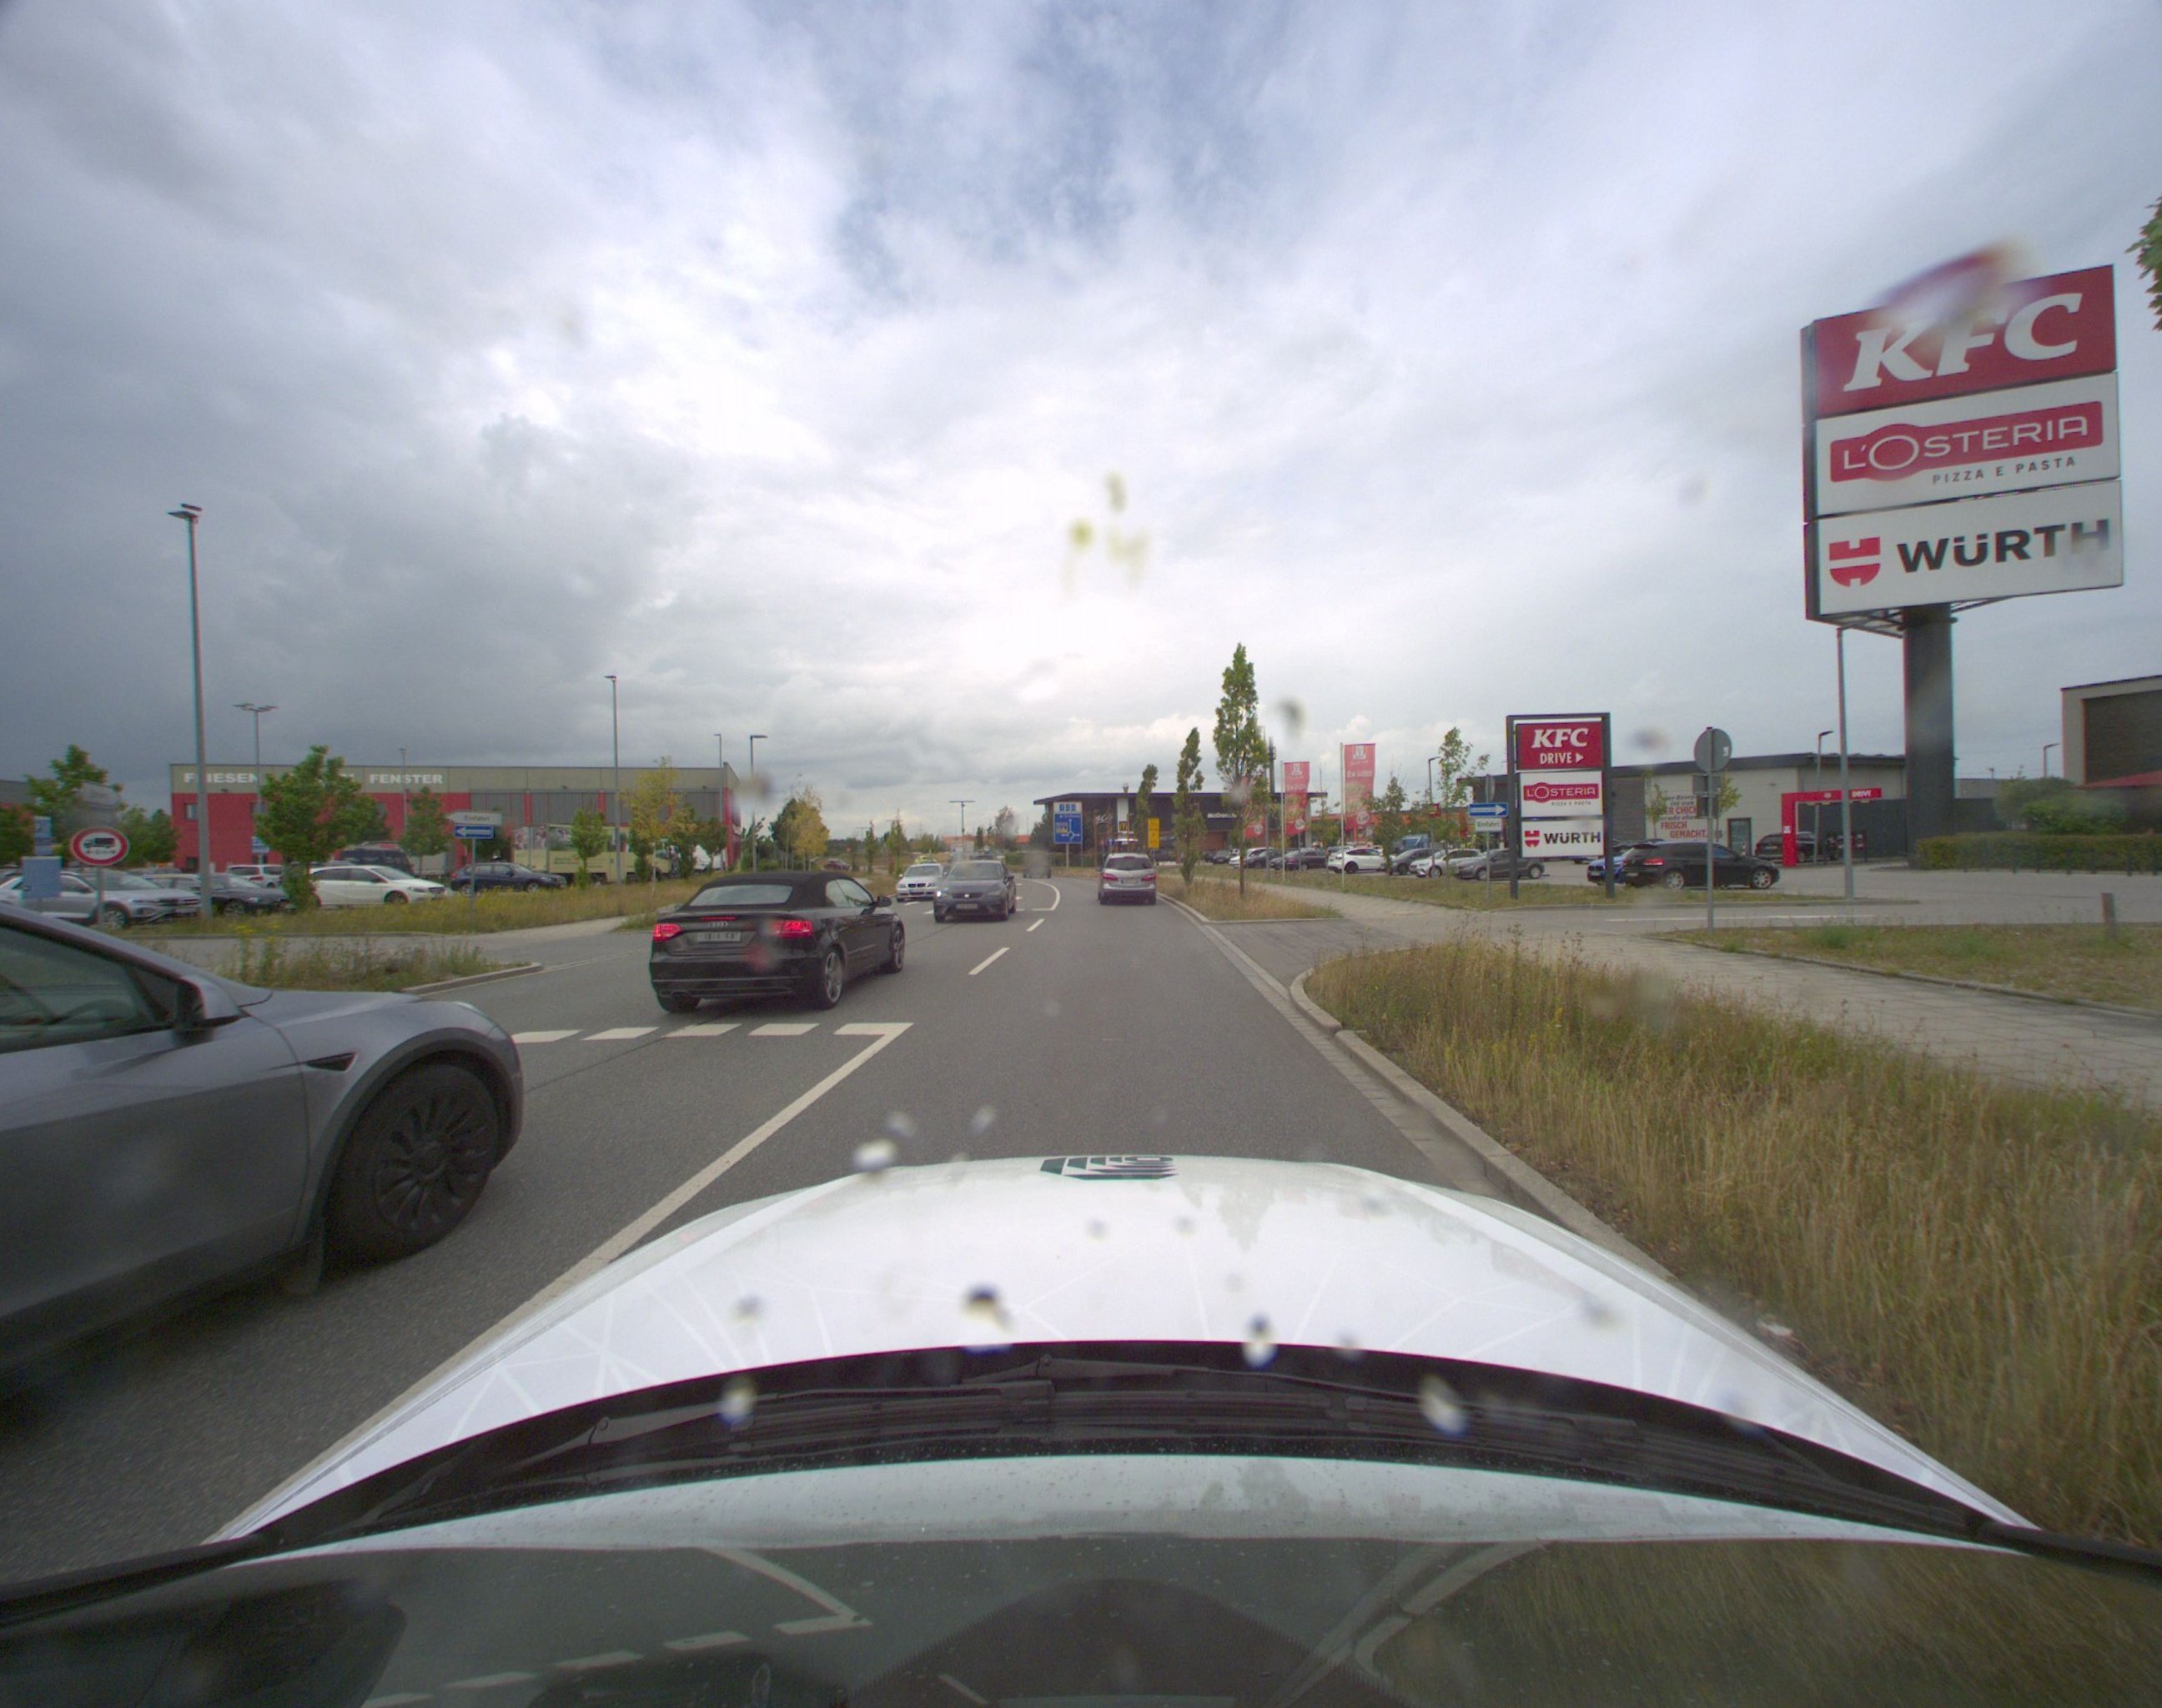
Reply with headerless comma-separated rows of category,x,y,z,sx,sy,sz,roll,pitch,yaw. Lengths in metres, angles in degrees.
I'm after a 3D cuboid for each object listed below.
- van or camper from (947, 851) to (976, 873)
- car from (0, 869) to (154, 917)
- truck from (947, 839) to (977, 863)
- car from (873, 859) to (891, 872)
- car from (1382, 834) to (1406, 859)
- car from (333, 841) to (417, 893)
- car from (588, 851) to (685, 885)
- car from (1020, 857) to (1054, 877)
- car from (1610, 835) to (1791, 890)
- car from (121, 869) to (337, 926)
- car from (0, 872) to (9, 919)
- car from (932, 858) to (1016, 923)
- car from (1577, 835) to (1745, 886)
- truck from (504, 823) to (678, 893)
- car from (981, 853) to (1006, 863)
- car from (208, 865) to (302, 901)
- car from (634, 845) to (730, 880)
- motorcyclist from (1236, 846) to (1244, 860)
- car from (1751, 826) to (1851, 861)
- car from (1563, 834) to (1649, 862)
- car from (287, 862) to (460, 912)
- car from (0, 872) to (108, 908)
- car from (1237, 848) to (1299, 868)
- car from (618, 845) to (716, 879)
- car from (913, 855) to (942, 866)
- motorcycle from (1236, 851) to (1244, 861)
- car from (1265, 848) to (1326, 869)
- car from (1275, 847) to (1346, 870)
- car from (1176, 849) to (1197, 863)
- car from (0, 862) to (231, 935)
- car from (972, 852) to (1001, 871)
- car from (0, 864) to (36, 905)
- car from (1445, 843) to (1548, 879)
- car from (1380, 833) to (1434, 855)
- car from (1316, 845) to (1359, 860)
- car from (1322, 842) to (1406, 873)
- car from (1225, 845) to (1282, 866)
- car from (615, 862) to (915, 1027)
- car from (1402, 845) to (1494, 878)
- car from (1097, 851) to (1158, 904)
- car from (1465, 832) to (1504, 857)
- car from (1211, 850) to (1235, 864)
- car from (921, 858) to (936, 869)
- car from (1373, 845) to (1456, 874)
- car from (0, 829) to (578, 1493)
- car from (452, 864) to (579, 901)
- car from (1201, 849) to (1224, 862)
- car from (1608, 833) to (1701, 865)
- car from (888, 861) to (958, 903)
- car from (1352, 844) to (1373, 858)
van or camper,-13.817,0.921,94.038,2.311,2.506,5.170,-1,0,-20
car,-40.004,1.487,32.298,2.001,1.607,5.235,-2,0,-21
truck,-20.291,-0.455,139.867,3.119,3.906,9.345,-2,0,4
car,-28.907,1.700,118.230,1.807,1.669,4.293,-4,1,-23
car,33.446,-0.783,87.117,2.254,2.501,7.367,-2,0,21
car,-38.971,0.687,45.091,2.068,2.690,5.104,-2,0,-24
car,-28.244,0.866,51.882,4.903,1.990,2.171,-2,0,-11
car,-3.351,0.958,61.534,1.847,1.418,4.205,-2,0,-13
car,18.756,0.248,24.821,3.971,1.494,1.983,-2,0,2
car,-25.067,1.252,24.089,4.227,1.513,2.047,-1,0,1
car,-37.666,1.459,26.201,2.001,1.607,3.972,-2,0,-21
car,-2.585,0.830,20.524,1.826,1.420,4.239,-1,0,-4
car,19.425,0.214,27.408,4.248,1.520,1.965,-2,0,0
truck,-27.063,0.195,45.617,2.826,3.541,8.470,-1,0,19
car,-16.402,0.731,152.663,4.604,1.757,1.992,-1,0,-11
car,-43.842,1.489,43.370,2.001,1.729,3.972,-2,0,-21
car,-31.305,0.637,64.123,6.425,2.598,2.230,-1,0,-18
motorcyclist,20.510,-0.110,105.017,0.953,1.832,0.849,-1,0,17
car,36.550,-0.528,41.348,4.578,1.519,1.884,-3,0,-21
car,32.519,-0.357,50.456,4.575,1.519,2.068,-3,0,-19
car,-25.375,1.164,29.369,4.245,1.559,1.983,-2,0,-9
car,-50.826,1.741,40.108,2.001,1.541,3.972,-2,0,-21
car,15.275,0.315,66.518,4.479,1.436,2.062,-2,0,-18
car,-30.022,0.549,59.290,6.087,2.307,2.196,-1,0,-19
car,-23.794,1.054,126.400,1.975,1.515,4.024,-2,0,43
motorcycle,20.520,0.199,105.002,0.850,1.244,1.975,-1,0,17
car,16.233,0.348,61.674,4.092,1.438,1.932,-2,0,-16
car,16.501,0.332,58.713,4.524,1.469,2.022,-2,0,-14
car,13.355,0.255,103.240,1.978,1.717,4.017,-1,0,16
car,-25.635,1.137,21.412,4.233,1.723,2.026,-1,0,-4
car,-9.962,0.780,85.536,2.064,1.826,4.756,-1,0,-19
car,-53.692,1.512,39.459,2.001,2.013,3.971,-1,0,-22
car,18.925,0.329,37.178,3.749,1.494,1.888,-2,0,-3
car,40.919,-1.272,102.230,5.970,2.528,2.296,-2,0,28
car,30.195,-0.210,95.776,4.679,1.656,2.010,-2,0,19
car,17.981,0.212,51.845,4.561,1.645,2.082,-3,0,-10
car,14.588,0.143,68.933,4.362,1.639,1.925,-2,0,-20
car,-3.288,0.840,9.479,1.763,1.438,4.231,-2,-1,1
car,18.898,0.370,41.992,3.854,1.481,1.899,-3,0,-4
car,1.434,0.707,26.316,1.724,1.600,3.806,0,0,0
car,39.559,-0.956,79.760,2.503,2.351,5.728,-2,0,35
car,14.010,0.279,80.181,1.796,1.313,3.868,-2,0,18
car,-21.796,1.291,115.981,1.995,1.515,3.984,-2,0,-12
car,19.181,0.321,46.927,3.981,1.485,1.936,-2,-1,-6
car,-3.562,0.752,1.699,1.986,1.561,4.615,-2,0,2
car,-25.578,1.263,36.953,4.225,1.435,1.994,-2,0,-5
car,16.970,0.180,104.867,2.098,1.717,4.251,-1,0,20
car,31.746,-0.272,45.108,4.578,1.519,1.964,-3,0,-21
car,-6.234,1.059,32.635,1.830,1.417,4.500,-3,0,1
car,30.105,-0.343,87.008,1.933,1.443,4.241,-2,0,22
